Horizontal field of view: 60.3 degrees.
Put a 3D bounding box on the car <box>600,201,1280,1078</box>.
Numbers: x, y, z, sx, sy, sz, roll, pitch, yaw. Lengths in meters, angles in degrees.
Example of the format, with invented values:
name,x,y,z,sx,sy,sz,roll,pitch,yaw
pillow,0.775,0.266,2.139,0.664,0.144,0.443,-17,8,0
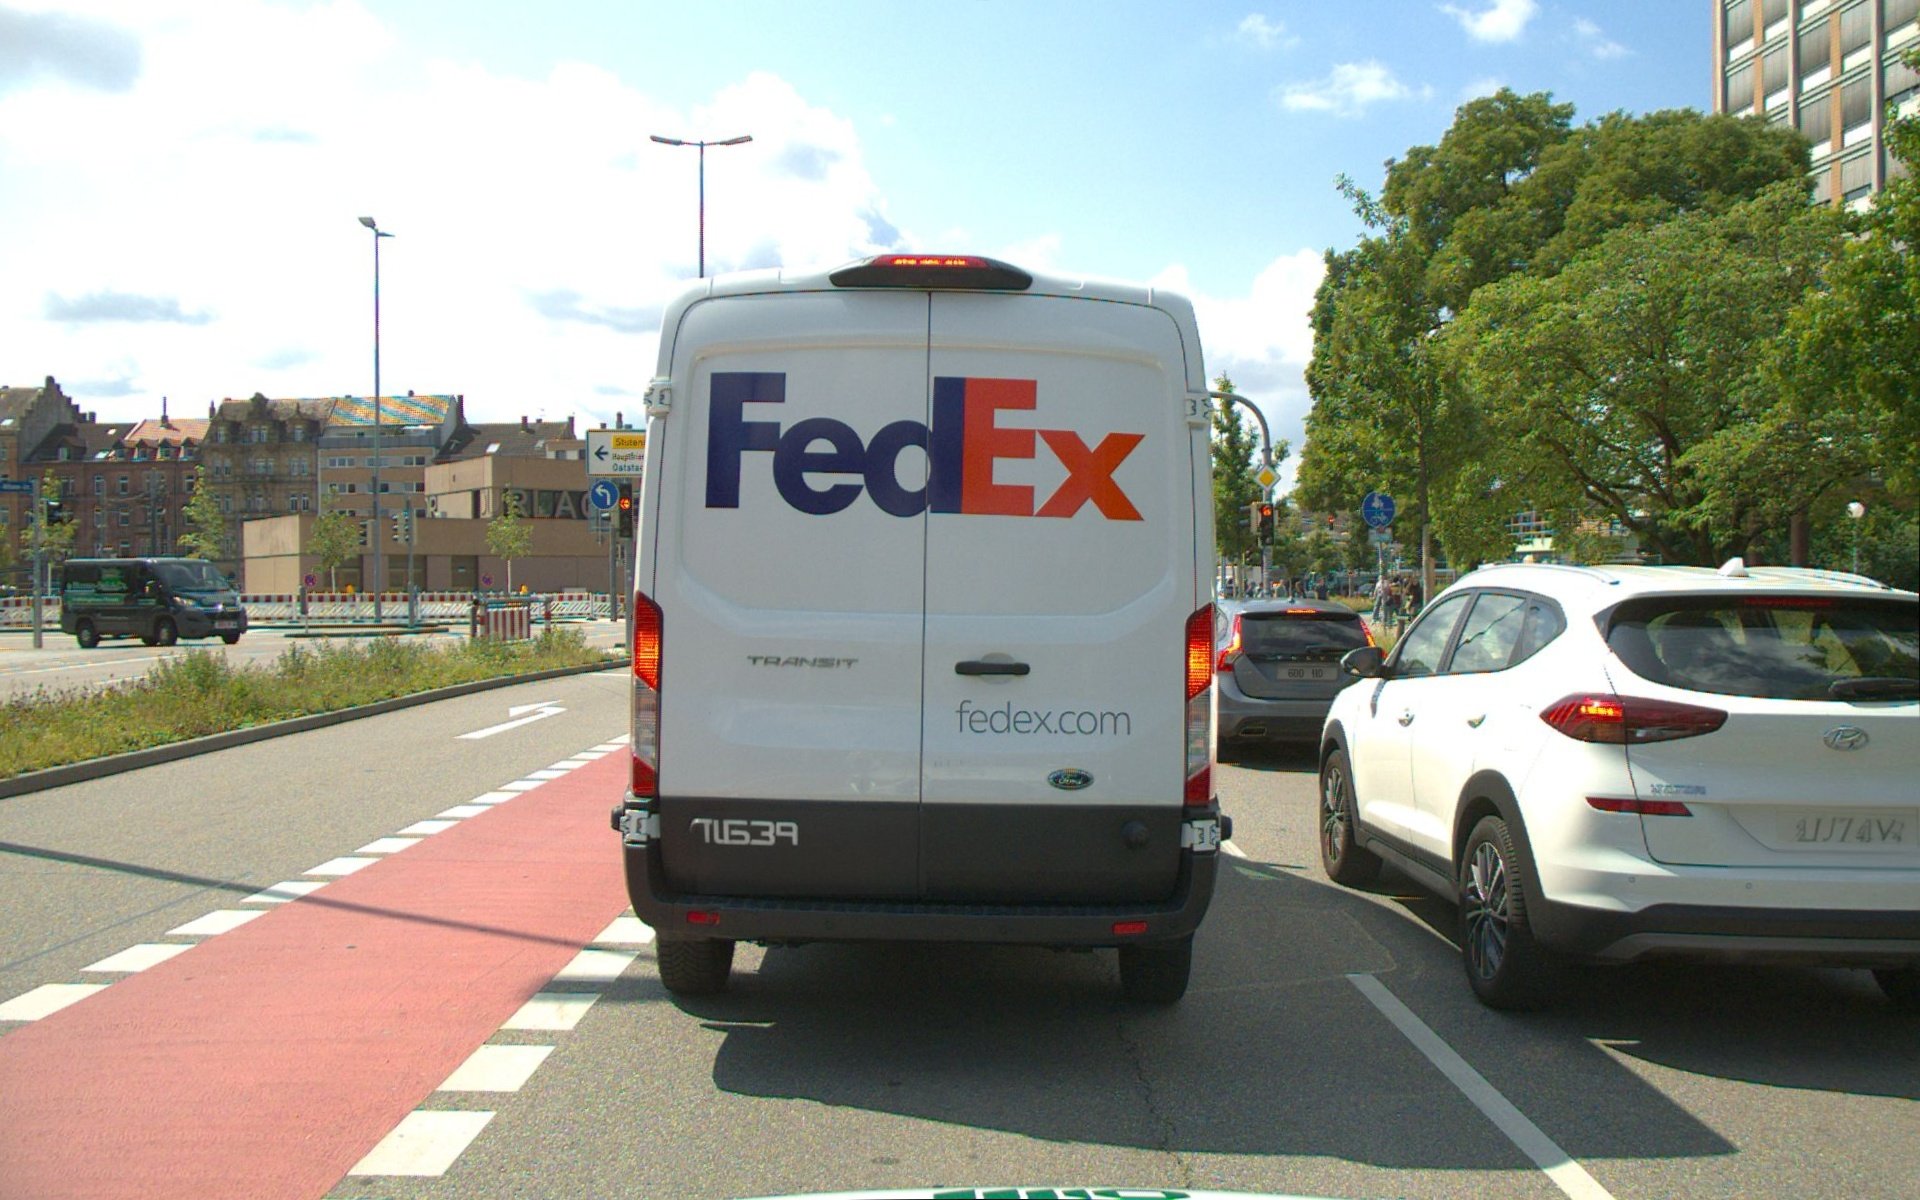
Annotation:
name,x,y,z,sx,sy,sz,roll,pitch,yaw
car,-0.030,0.095,7.189,2.030,2.626,4.428,0,1,1

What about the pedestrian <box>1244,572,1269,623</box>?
name,x,y,z,sx,sy,sz,roll,pitch,yaw
pedestrian,11.018,-0.108,61.398,0.744,1.882,0.816,0,0,-3

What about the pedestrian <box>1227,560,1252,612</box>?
name,x,y,z,sx,sy,sz,roll,pitch,yaw
pedestrian,10.191,-0.516,60.237,0.796,1.882,0.761,0,0,2

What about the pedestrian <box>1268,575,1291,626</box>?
name,x,y,z,sx,sy,sz,roll,pitch,yaw
pedestrian,11.931,0.028,61.805,0.742,1.882,0.817,0,0,5

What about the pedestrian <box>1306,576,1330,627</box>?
name,x,y,z,sx,sy,sz,roll,pitch,yaw
pedestrian,13.417,0.055,61.984,0.743,1.882,0.816,0,0,3

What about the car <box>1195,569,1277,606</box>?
name,x,y,z,sx,sy,sz,roll,pitch,yaw
car,22.305,-0.973,133.338,7.010,2.765,2.463,1,-1,-38

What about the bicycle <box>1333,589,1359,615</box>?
name,x,y,z,sx,sy,sz,roll,pitch,yaw
bicycle,22.776,0.113,97.472,1.395,1.489,4.314,0,1,14

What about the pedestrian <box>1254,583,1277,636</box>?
name,x,y,z,sx,sy,sz,roll,pitch,yaw
pedestrian,10.926,0.347,59.200,0.742,1.882,0.817,0,0,14

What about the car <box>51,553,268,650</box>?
name,x,y,z,sx,sy,sz,roll,pitch,yaw
car,-20.097,0.041,41.532,4.900,2.213,2.155,-2,1,23

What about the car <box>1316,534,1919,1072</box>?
name,x,y,z,sx,sy,sz,roll,pitch,yaw
car,2.859,0.622,7.255,1.777,1.708,3.974,0,1,1

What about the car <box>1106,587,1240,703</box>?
name,x,y,z,sx,sy,sz,roll,pitch,yaw
car,2.927,0.570,23.273,1.468,1.489,3.474,0,1,1

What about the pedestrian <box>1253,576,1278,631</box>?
name,x,y,z,sx,sy,sz,roll,pitch,yaw
pedestrian,10.487,0.118,56.837,0.743,1.882,0.816,0,0,18

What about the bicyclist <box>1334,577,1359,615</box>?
name,x,y,z,sx,sy,sz,roll,pitch,yaw
bicyclist,22.788,-0.262,97.536,1.402,2.209,1.340,0,0,14

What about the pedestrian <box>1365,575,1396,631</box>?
name,x,y,z,sx,sy,sz,roll,pitch,yaw
pedestrian,14.229,0.096,55.990,0.745,1.882,0.814,-1,0,-11

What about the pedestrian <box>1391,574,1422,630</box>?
name,x,y,z,sx,sy,sz,roll,pitch,yaw
pedestrian,15.187,0.048,56.236,0.745,1.882,0.814,0,0,-9

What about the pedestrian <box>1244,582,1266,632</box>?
name,x,y,z,sx,sy,sz,roll,pitch,yaw
pedestrian,11.158,0.265,62.566,0.742,1.882,0.817,0,1,15

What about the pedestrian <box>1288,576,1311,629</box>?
name,x,y,z,sx,sy,sz,roll,pitch,yaw
pedestrian,12.097,0.092,58.922,0.743,1.882,0.816,0,0,18

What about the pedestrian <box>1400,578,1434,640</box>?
name,x,y,z,sx,sy,sz,roll,pitch,yaw
pedestrian,12.616,0.239,45.683,0.743,1.684,0.816,0,0,3

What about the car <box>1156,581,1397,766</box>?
name,x,y,z,sx,sy,sz,roll,pitch,yaw
car,2.925,0.607,15.986,1.656,1.576,3.721,0,1,1

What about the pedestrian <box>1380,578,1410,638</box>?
name,x,y,z,sx,sy,sz,roll,pitch,yaw
pedestrian,13.819,0.260,52.547,0.743,1.882,0.816,0,0,1
